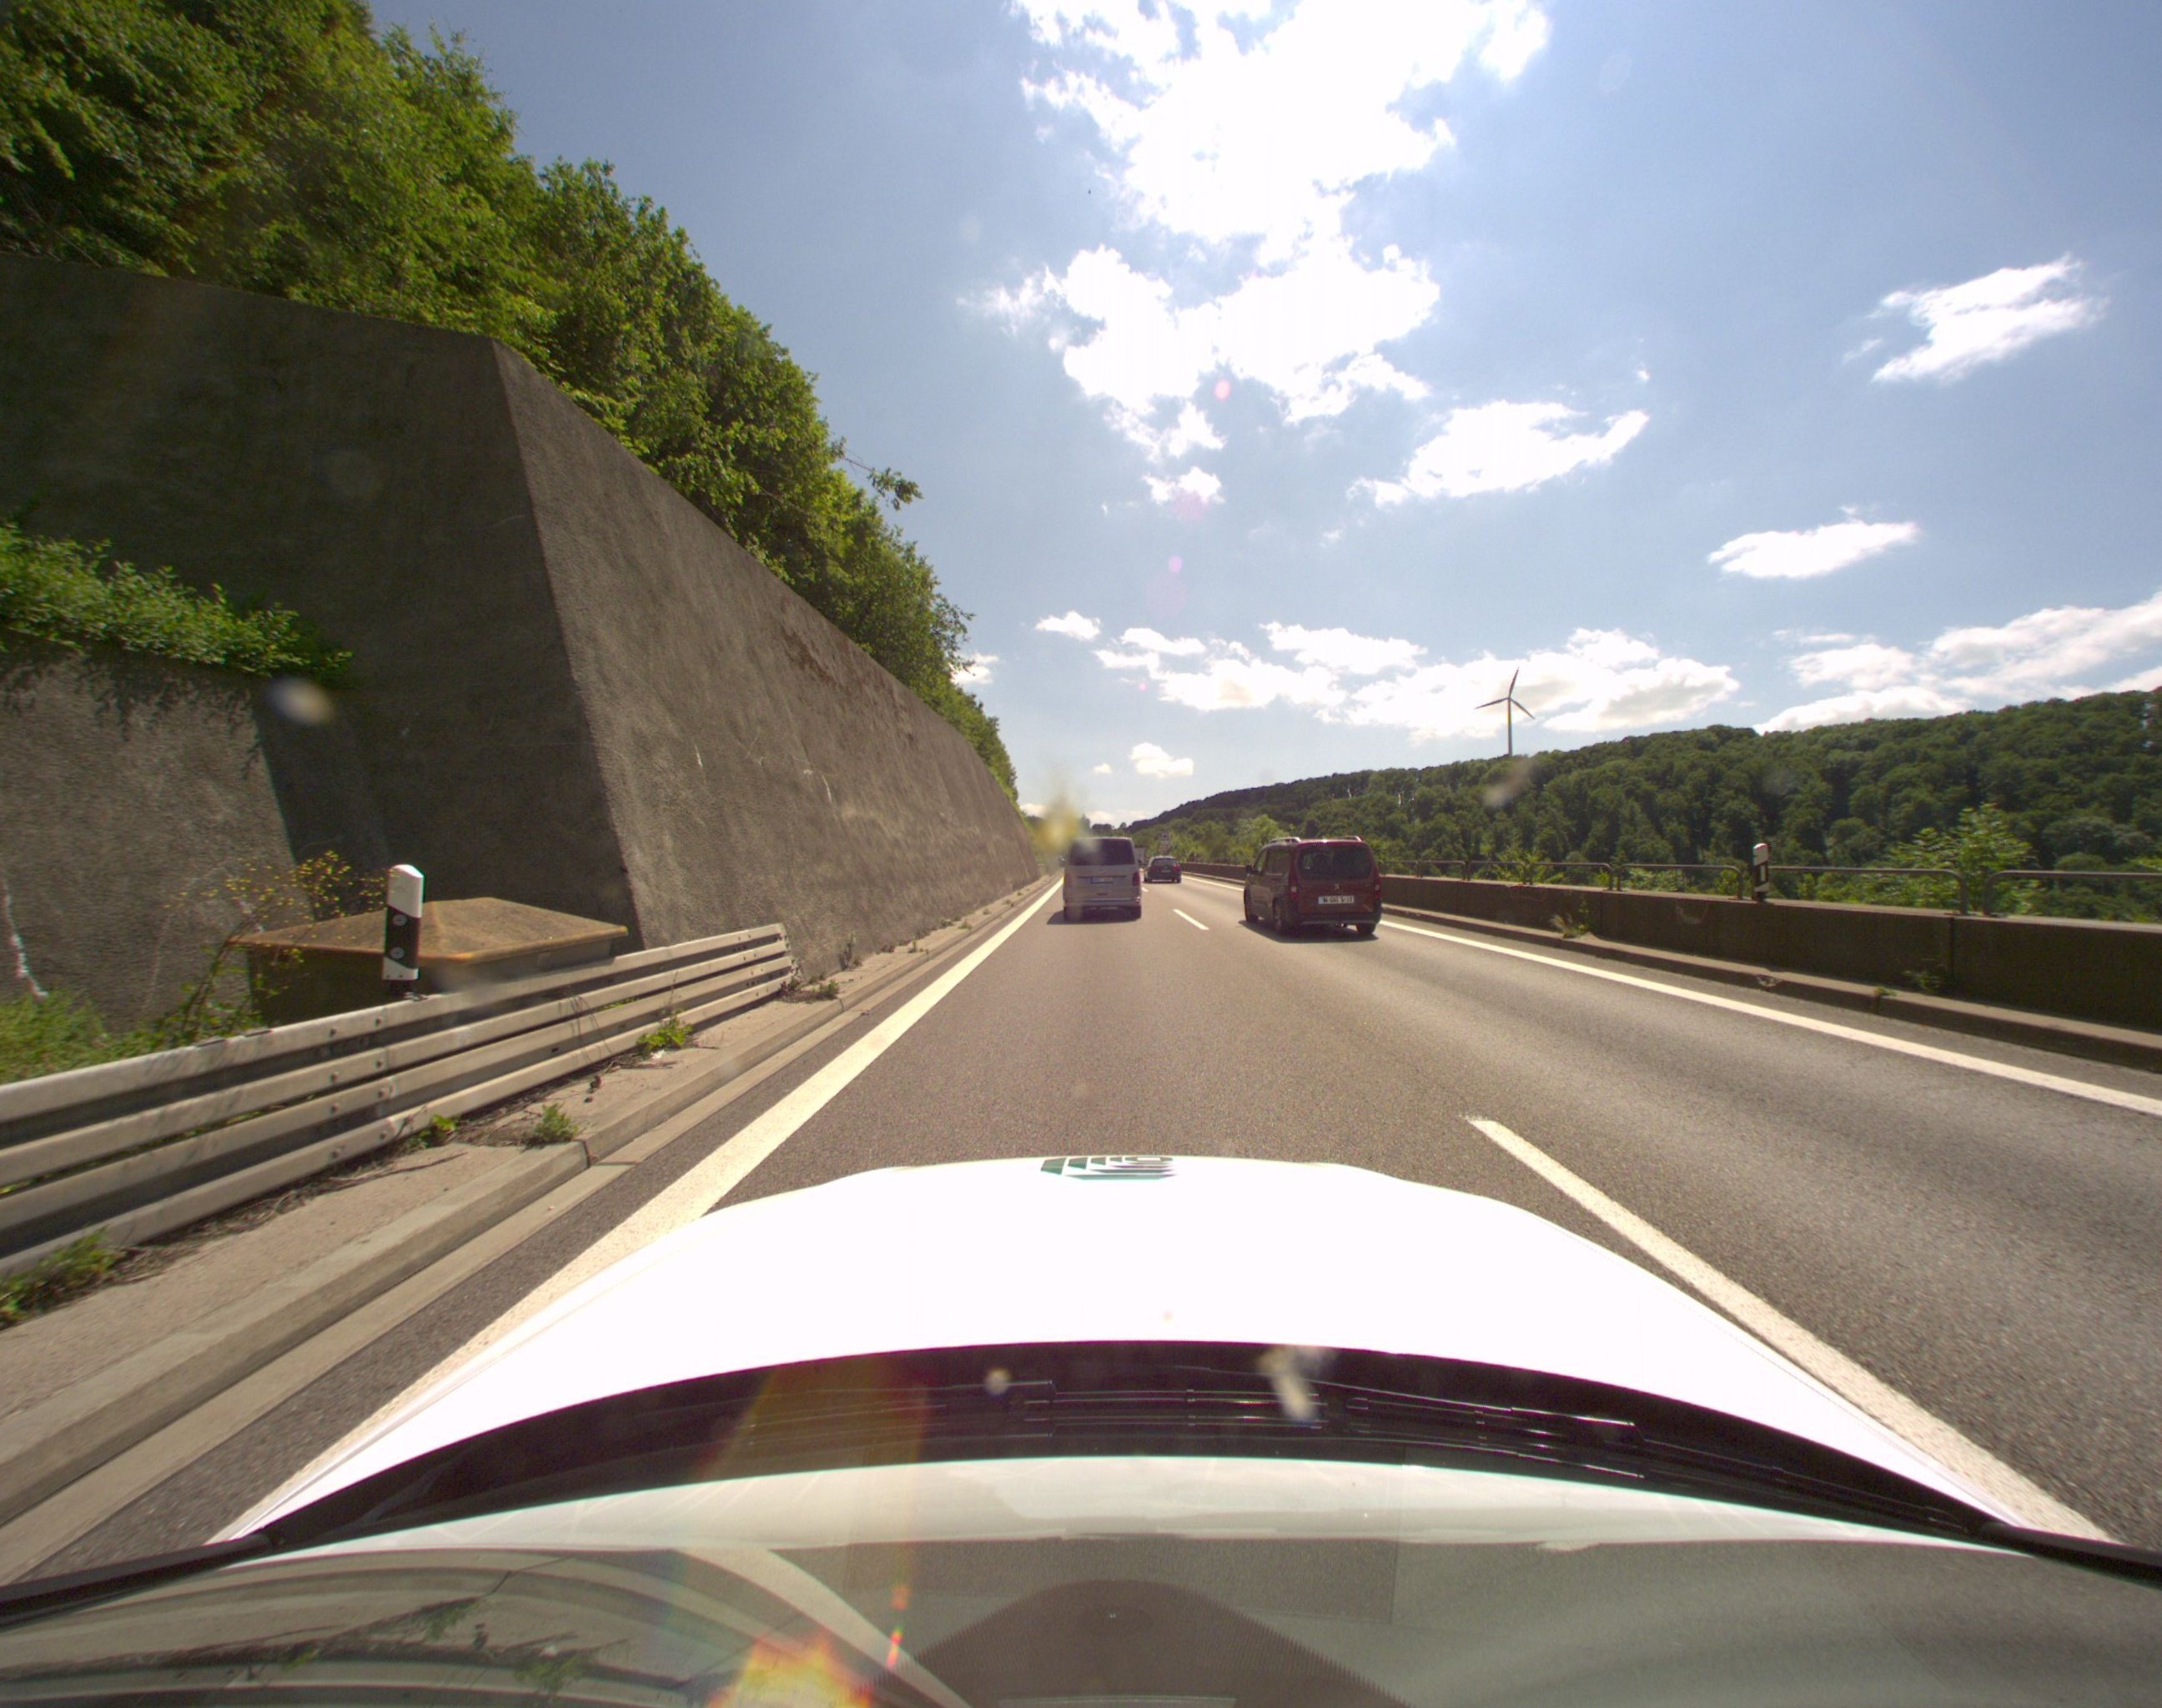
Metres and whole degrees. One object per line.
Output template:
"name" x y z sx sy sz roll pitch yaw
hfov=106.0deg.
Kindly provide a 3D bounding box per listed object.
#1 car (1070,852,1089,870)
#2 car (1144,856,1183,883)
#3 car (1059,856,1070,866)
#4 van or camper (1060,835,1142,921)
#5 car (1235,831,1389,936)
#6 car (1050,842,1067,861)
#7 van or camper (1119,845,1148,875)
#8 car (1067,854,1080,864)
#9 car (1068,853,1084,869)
"car" -0.198 0.744 88.230 1.988 1.817 3.997 -1 0 -2
"car" 4.485 0.811 44.644 1.762 1.375 3.593 -1 0 1
"car" -3.395 1.511 169.454 1.986 2.014 4.002 -3 -1 2
"van or camper" 0.542 0.542 20.755 1.868 1.949 4.296 0 0 2
"car" 4.501 0.543 16.628 1.827 1.784 4.676 -2 -1 1
"car" -5.841 -0.629 210.542 4.033 4.871 10.101 -1 0 -2
"van or camper" 4.732 0.508 74.045 2.256 2.551 4.736 -3 0 0
"car" -1.331 0.851 139.862 2.137 1.607 5.073 -1 0 -2
"car" -0.676 0.888 105.588 1.989 1.915 3.996 -1 0 -3
